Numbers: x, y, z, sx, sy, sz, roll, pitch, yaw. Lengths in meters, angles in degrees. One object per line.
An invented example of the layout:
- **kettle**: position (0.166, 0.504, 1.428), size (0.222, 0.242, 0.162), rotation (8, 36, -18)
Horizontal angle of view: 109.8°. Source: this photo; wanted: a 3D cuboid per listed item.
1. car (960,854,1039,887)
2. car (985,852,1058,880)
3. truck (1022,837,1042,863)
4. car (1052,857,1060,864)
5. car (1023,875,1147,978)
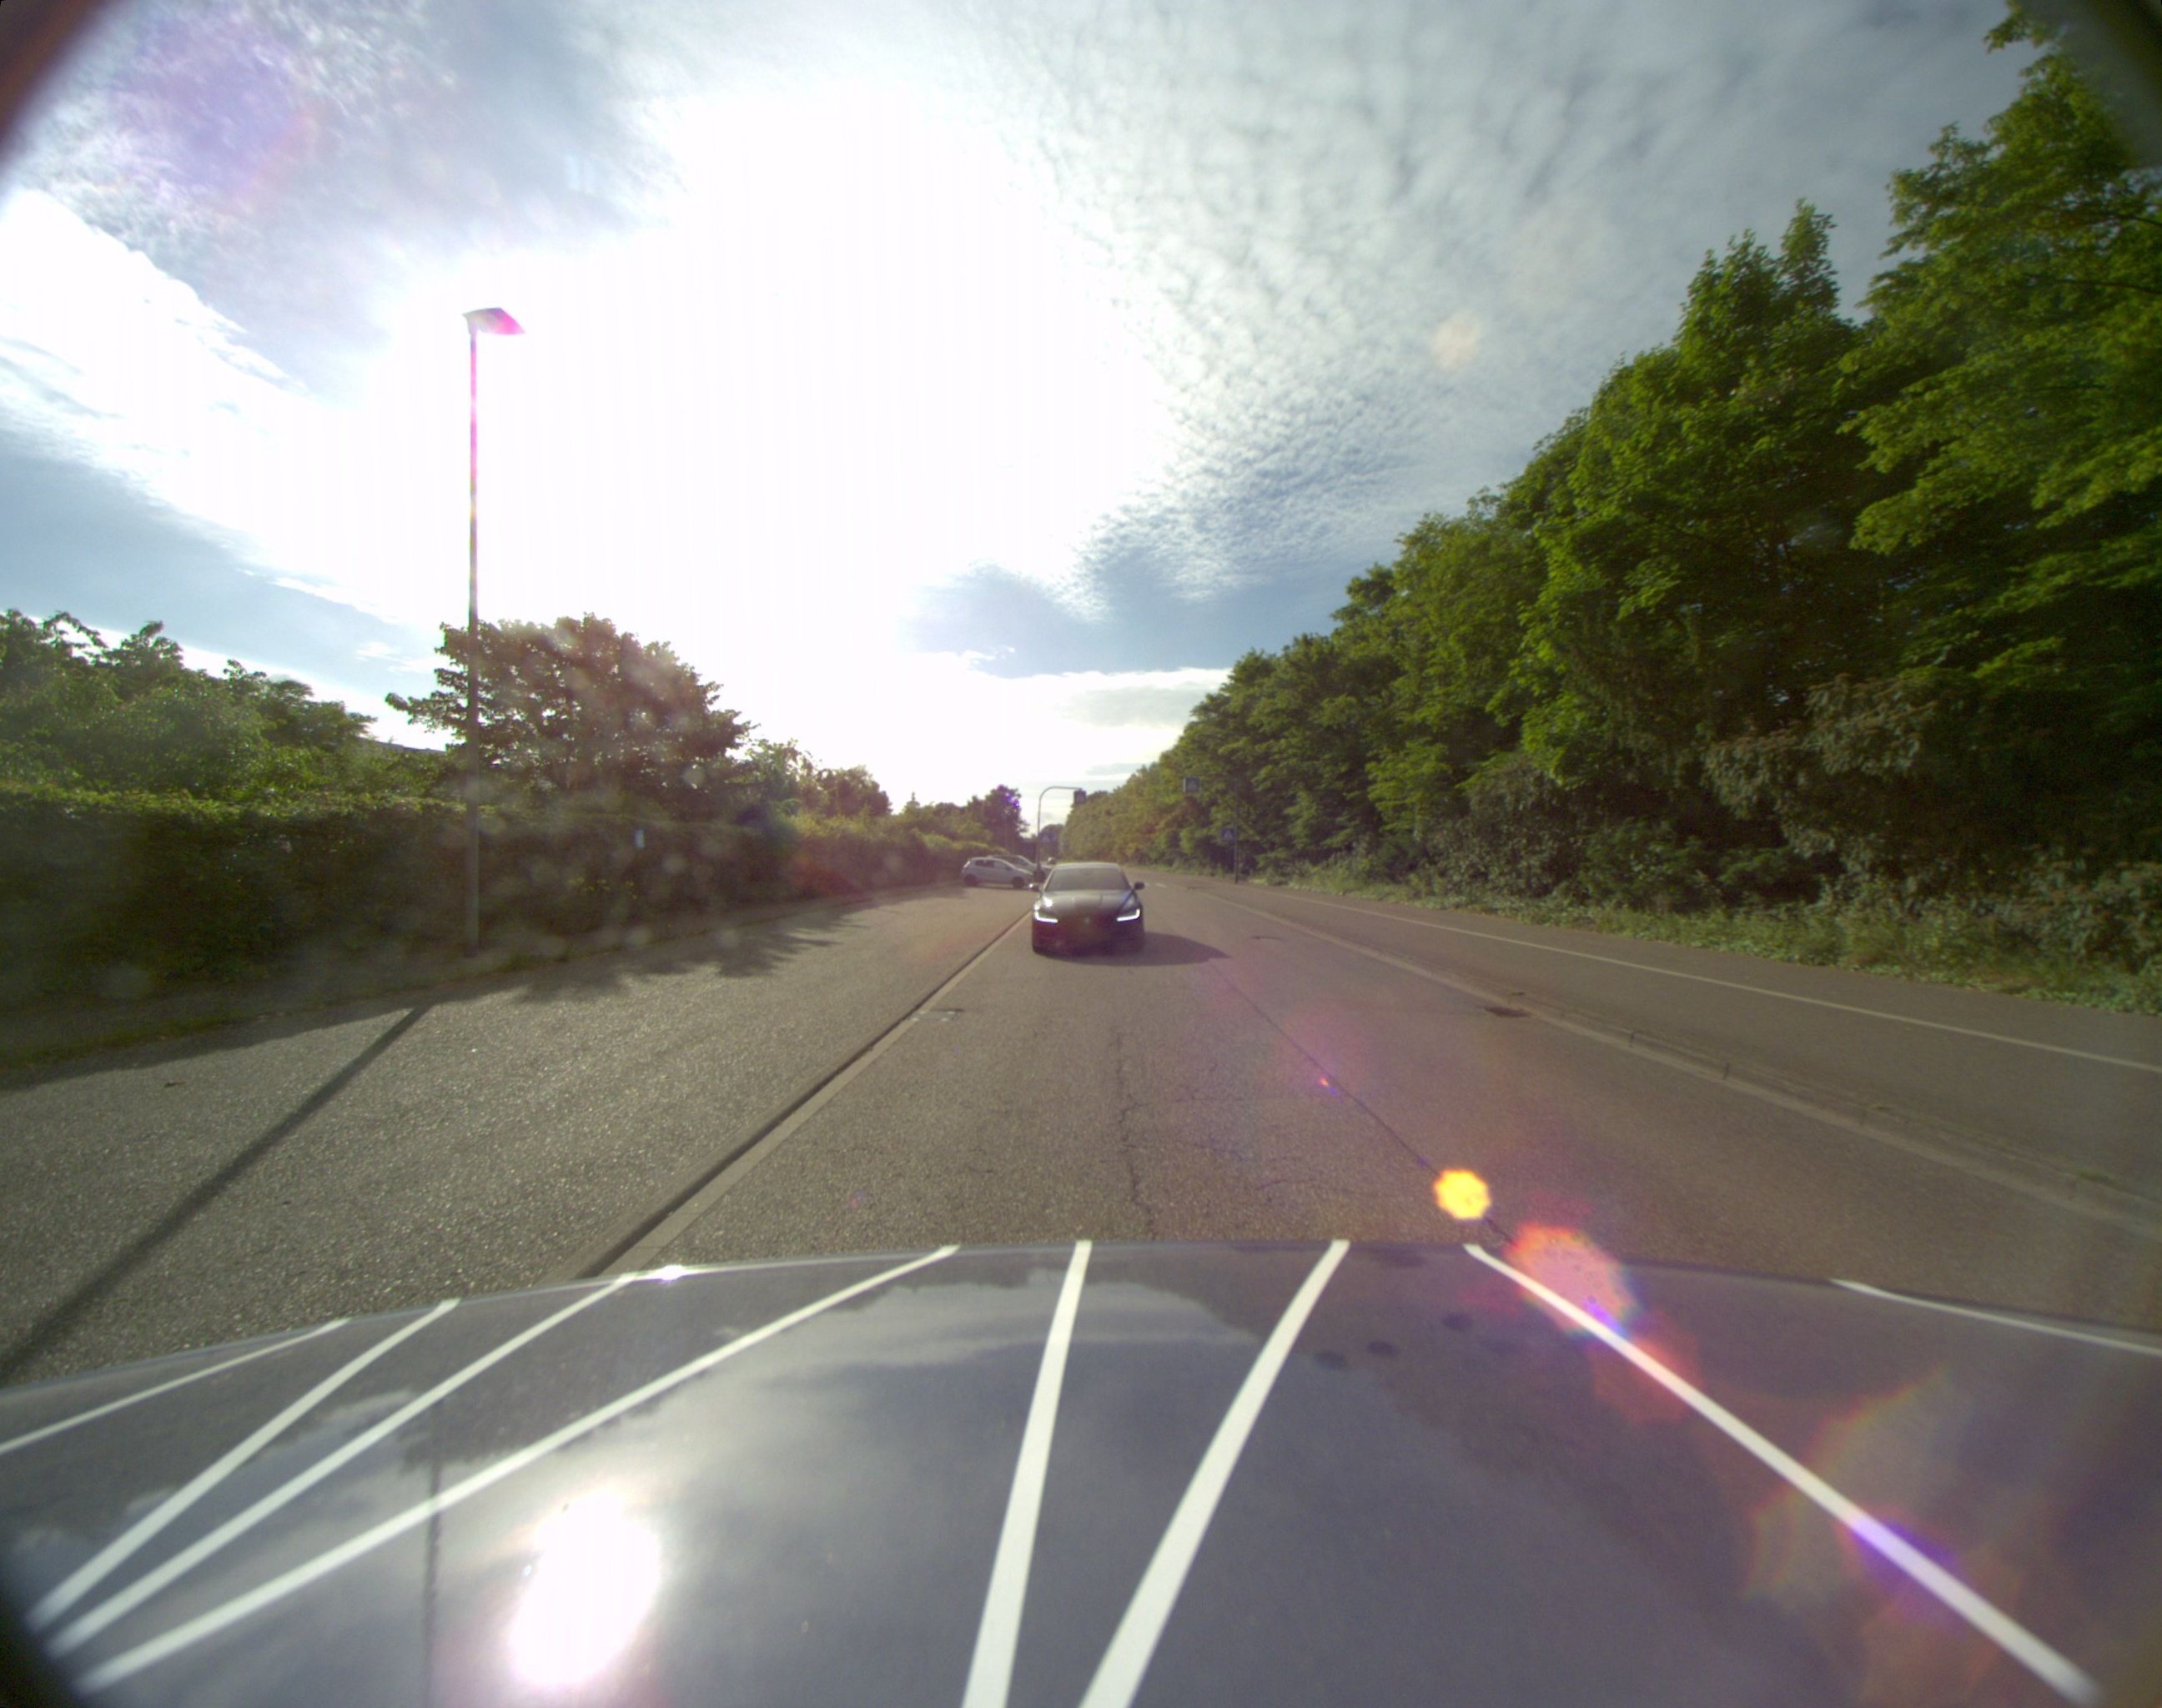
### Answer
- **car**: position (-4.207, 0.882, 39.811), size (3.867, 1.481, 1.692), rotation (3, -1, 0)
- **car**: position (-3.920, 0.775, 50.571), size (4.599, 1.689, 1.763), rotation (2, 0, 2)
- **truck**: position (-7.859, -0.617, 120.477), size (2.604, 3.935, 6.280), rotation (4, -1, -7)
- **car**: position (-5.939, 1.428, 178.257), size (1.807, 1.576, 4.100), rotation (1, 0, -3)
- **car**: position (0.067, 1.195, 14.211), size (1.936, 1.500, 4.680), rotation (0, 0, 0)
